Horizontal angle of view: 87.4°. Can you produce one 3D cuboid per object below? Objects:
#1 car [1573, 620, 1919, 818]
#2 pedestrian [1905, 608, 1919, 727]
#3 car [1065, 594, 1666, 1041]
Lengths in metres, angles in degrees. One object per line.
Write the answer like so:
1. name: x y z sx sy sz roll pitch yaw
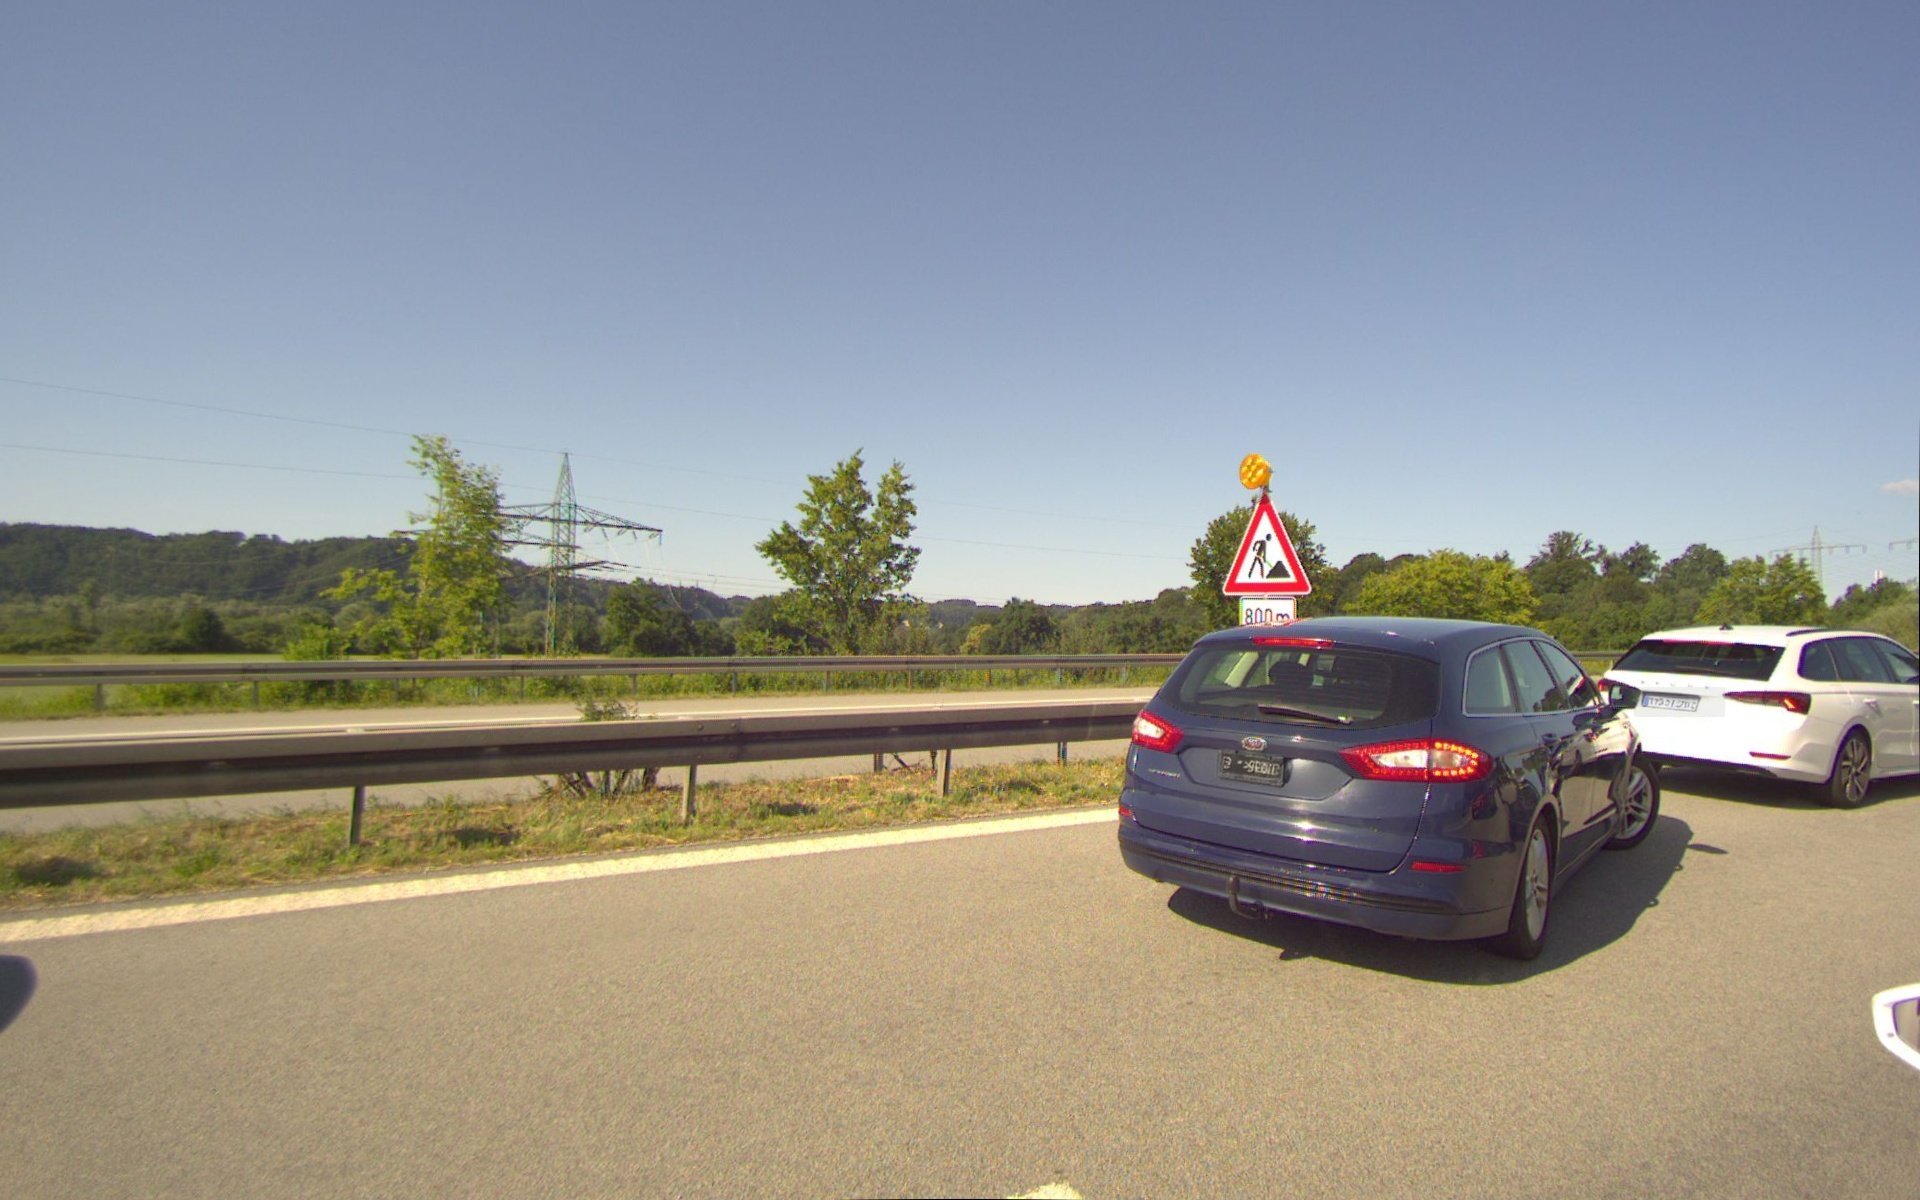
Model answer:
1. car: 7.783 0.958 9.391 4.159 1.461 1.687 1 0 -29
2. pedestrian: 15.031 1.014 15.045 1.106 1.786 1.035 1 -1 -33
3. car: 2.616 0.803 5.679 1.768 1.513 4.469 -1 -2 42
